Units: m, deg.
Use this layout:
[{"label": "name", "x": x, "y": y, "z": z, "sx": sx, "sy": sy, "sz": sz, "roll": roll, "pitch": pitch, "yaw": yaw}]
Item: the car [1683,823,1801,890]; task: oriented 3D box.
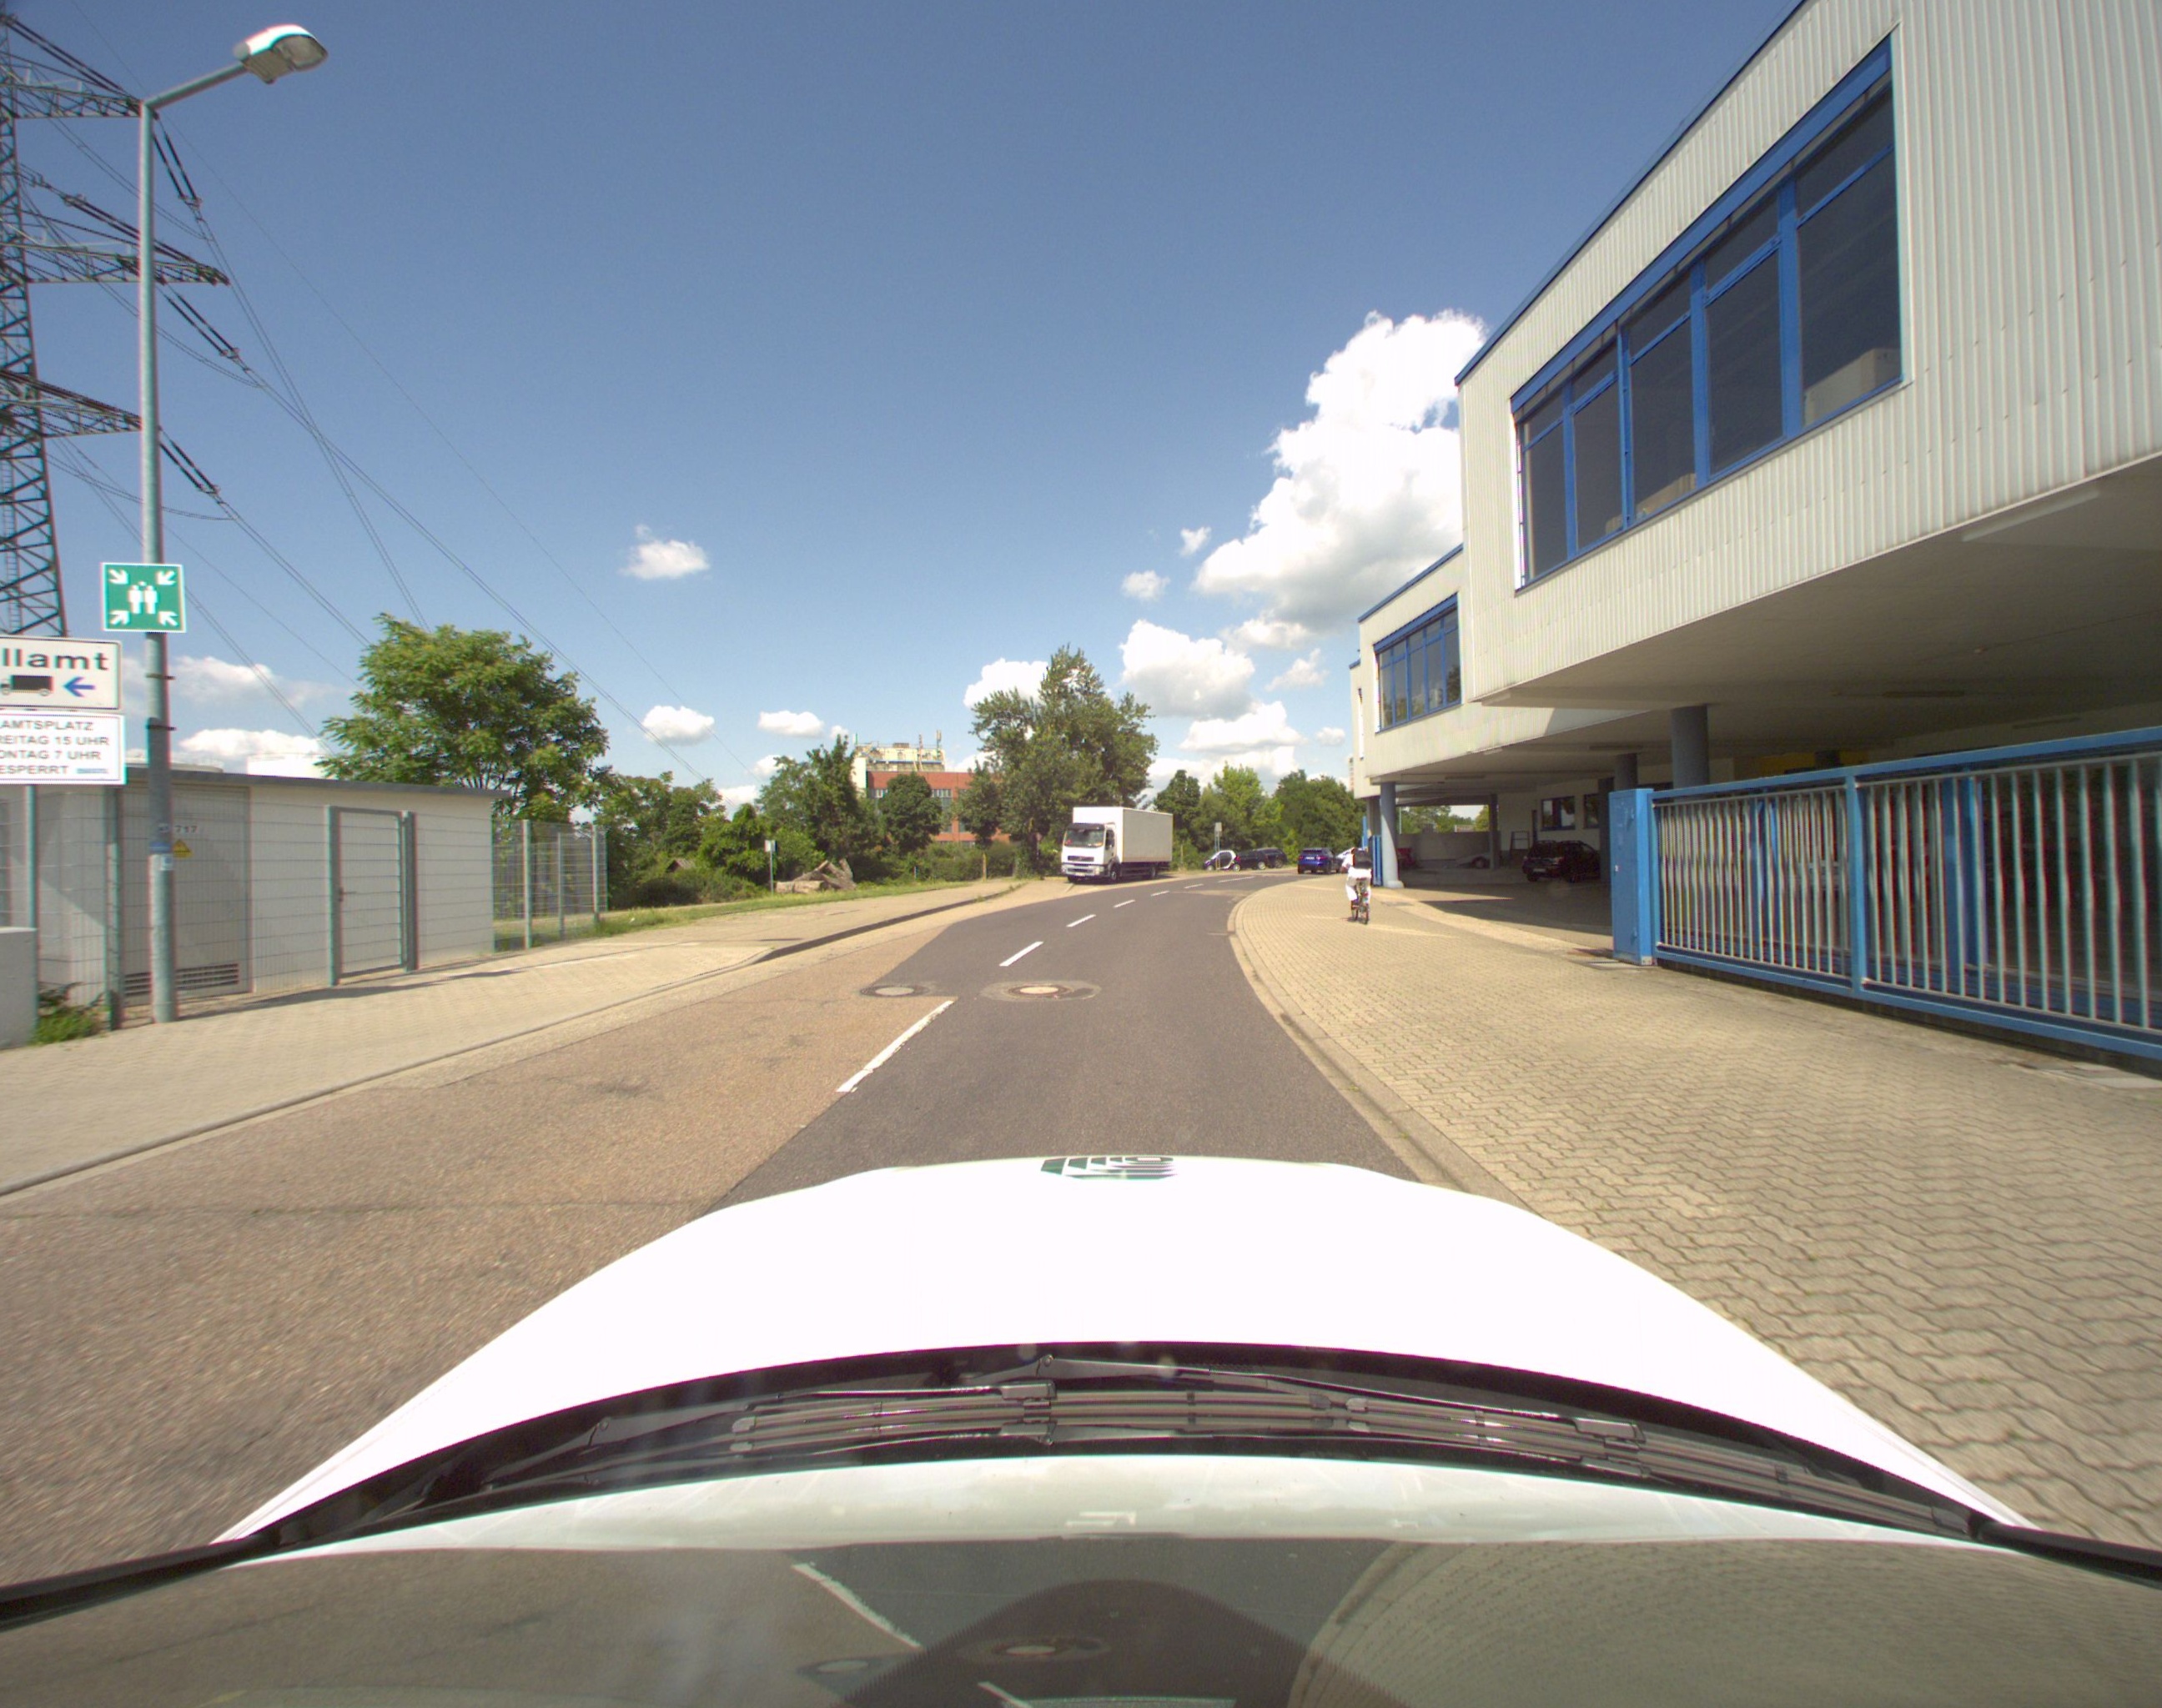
[{"label": "car", "x": 19.133, "y": 0.031, "z": 23.533, "sx": 4.124, "sy": 1.781, "sz": 1.740, "roll": -1, "pitch": 1, "yaw": -37}]

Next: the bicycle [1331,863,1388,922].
[{"label": "bicycle", "x": 5.784, "y": 0.765, "z": 17.024, "sx": 0.663, "sy": 1.109, "sz": 2.171, "roll": -2, "pitch": 0, "yaw": 7}]

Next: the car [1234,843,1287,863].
[{"label": "car", "x": 14.226, "y": -0.080, "z": 64.631, "sx": 3.626, "sy": 1.570, "sz": 1.884, "roll": -1, "pitch": -1, "yaw": -9}]

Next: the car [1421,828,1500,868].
[{"label": "car", "x": 20.062, "y": -0.324, "z": 43.039, "sx": 3.679, "sy": 2.014, "sz": 2.011, "roll": 1, "pitch": -1, "yaw": 26}]

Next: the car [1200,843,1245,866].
[{"label": "car", "x": 10.138, "y": 0.033, "z": 58.583, "sx": 2.889, "sy": 1.570, "sz": 1.889, "roll": -1, "pitch": -1, "yaw": -1}]

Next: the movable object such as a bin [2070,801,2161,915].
[{"label": "movable object such as a bin", "x": 20.704, "y": 0.054, "z": 16.143, "sx": 2.930, "sy": 2.085, "sz": 1.303, "roll": -1, "pitch": 1, "yaw": -37}]

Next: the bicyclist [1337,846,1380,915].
[{"label": "bicyclist", "x": 5.763, "y": 0.537, "z": 16.956, "sx": 0.660, "sy": 1.397, "sz": 0.860, "roll": -2, "pitch": 0, "yaw": 7}]

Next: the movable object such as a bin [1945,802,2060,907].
[{"label": "movable object such as a bin", "x": 20.136, "y": -0.013, "z": 17.770, "sx": 3.452, "sy": 2.085, "sz": 1.418, "roll": -1, "pitch": 1, "yaw": -37}]

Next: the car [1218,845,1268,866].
[{"label": "car", "x": 12.260, "y": 0.132, "z": 61.581, "sx": 3.322, "sy": 1.475, "sz": 1.699, "roll": -1, "pitch": 0, "yaw": -9}]

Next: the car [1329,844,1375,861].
[{"label": "car", "x": 25.883, "y": -0.161, "z": 77.907, "sx": 4.017, "sy": 1.570, "sz": 1.748, "roll": -1, "pitch": -1, "yaw": 14}]

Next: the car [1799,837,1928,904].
[{"label": "car", "x": 19.795, "y": 0.366, "z": 20.568, "sx": 3.680, "sy": 1.546, "sz": 1.822, "roll": 0, "pitch": 0, "yaw": -37}]

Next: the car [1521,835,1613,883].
[{"label": "car", "x": 19.553, "y": 0.168, "z": 32.751, "sx": 3.676, "sy": 1.658, "sz": 1.654, "roll": -4, "pitch": 3, "yaw": -32}]

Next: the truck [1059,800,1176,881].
[{"label": "truck", "x": 2.103, "y": -0.695, "z": 40.513, "sx": 2.300, "sy": 3.567, "sz": 9.422, "roll": 0, "pitch": 1, "yaw": 26}]

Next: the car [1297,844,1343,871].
[{"label": "car", "x": 15.084, "y": 0.231, "z": 51.293, "sx": 1.891, "sy": 1.593, "sz": 4.729, "roll": -1, "pitch": 0, "yaw": 27}]
